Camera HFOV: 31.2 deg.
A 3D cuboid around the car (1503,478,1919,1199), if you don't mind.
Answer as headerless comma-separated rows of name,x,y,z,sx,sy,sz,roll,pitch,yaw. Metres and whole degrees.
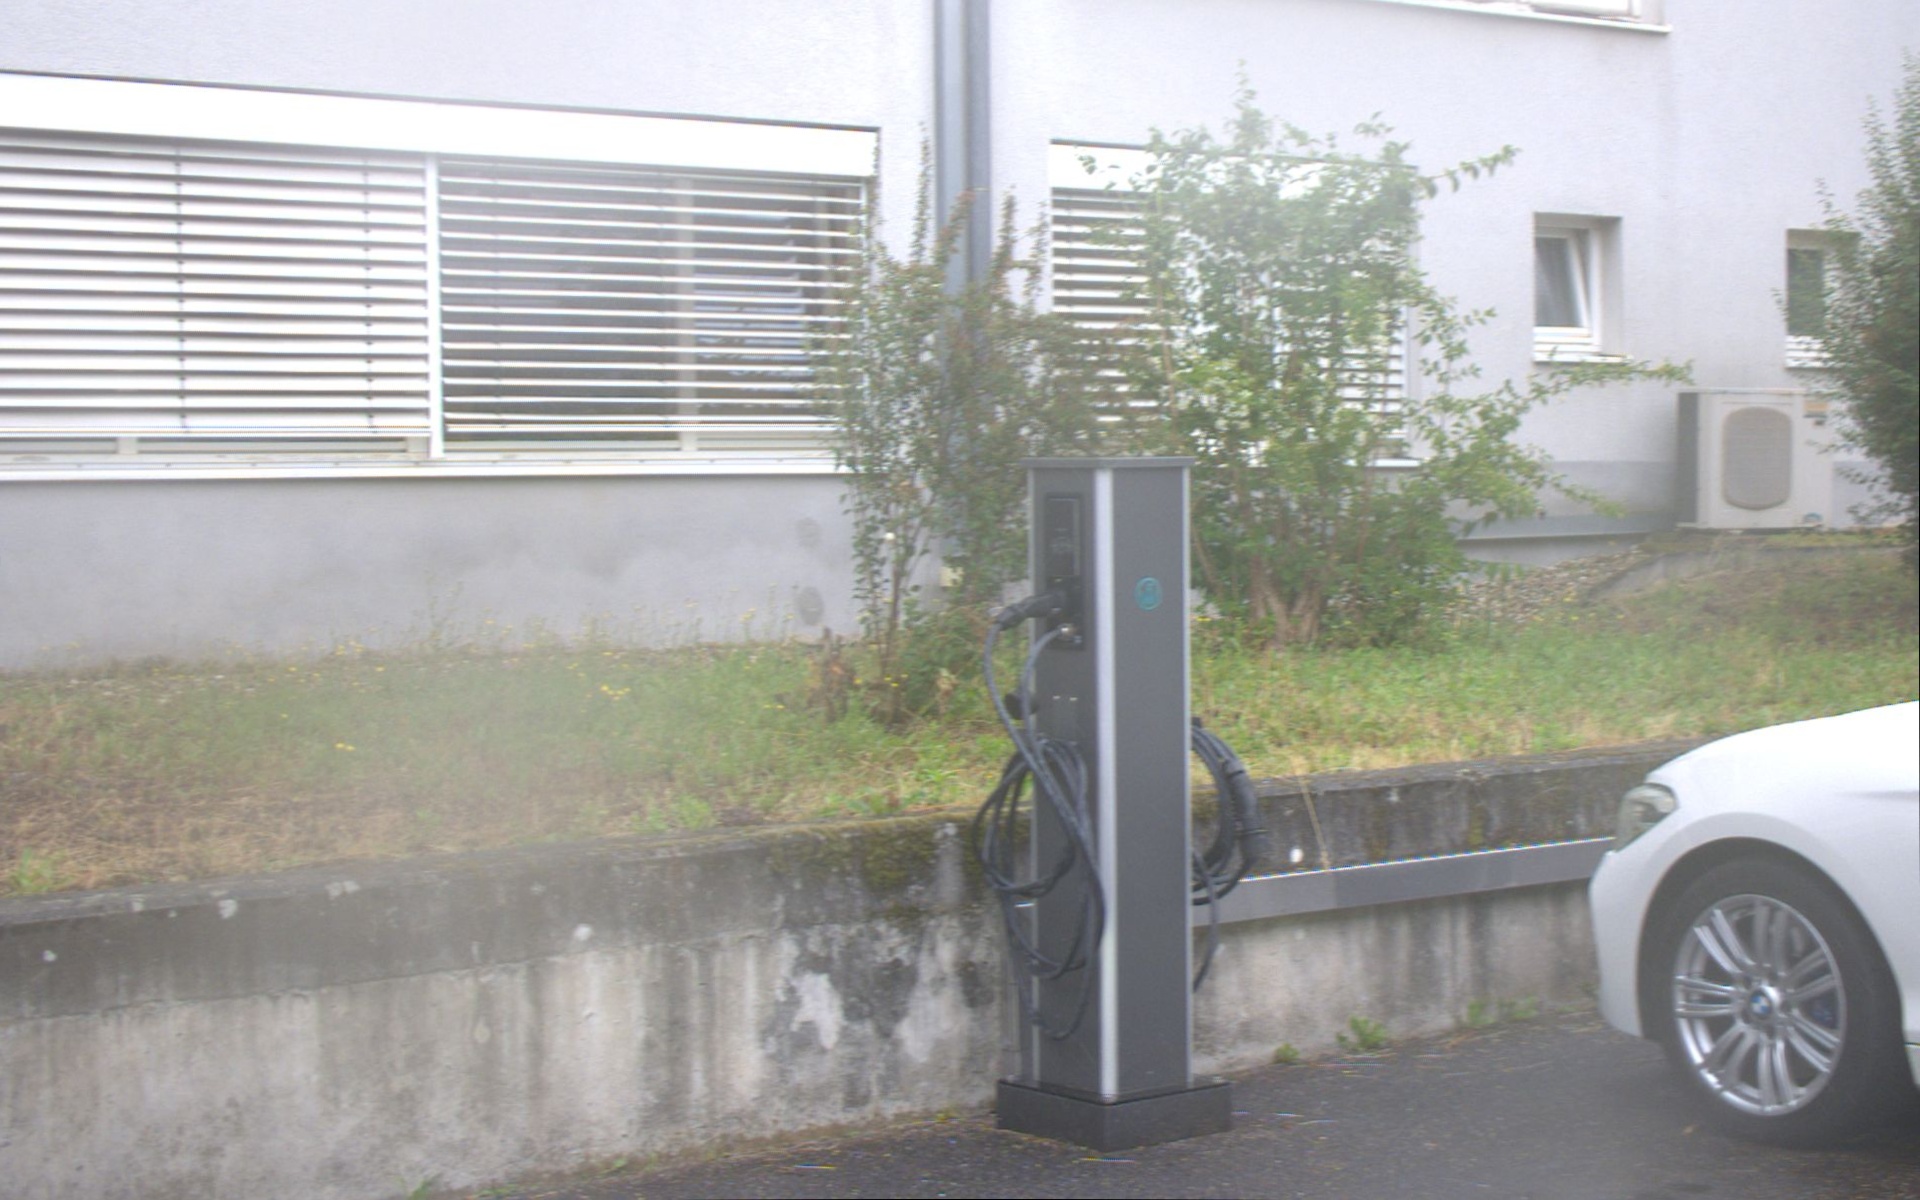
car,3.286,0.500,6.637,1.994,1.484,4.220,-1,2,-37
